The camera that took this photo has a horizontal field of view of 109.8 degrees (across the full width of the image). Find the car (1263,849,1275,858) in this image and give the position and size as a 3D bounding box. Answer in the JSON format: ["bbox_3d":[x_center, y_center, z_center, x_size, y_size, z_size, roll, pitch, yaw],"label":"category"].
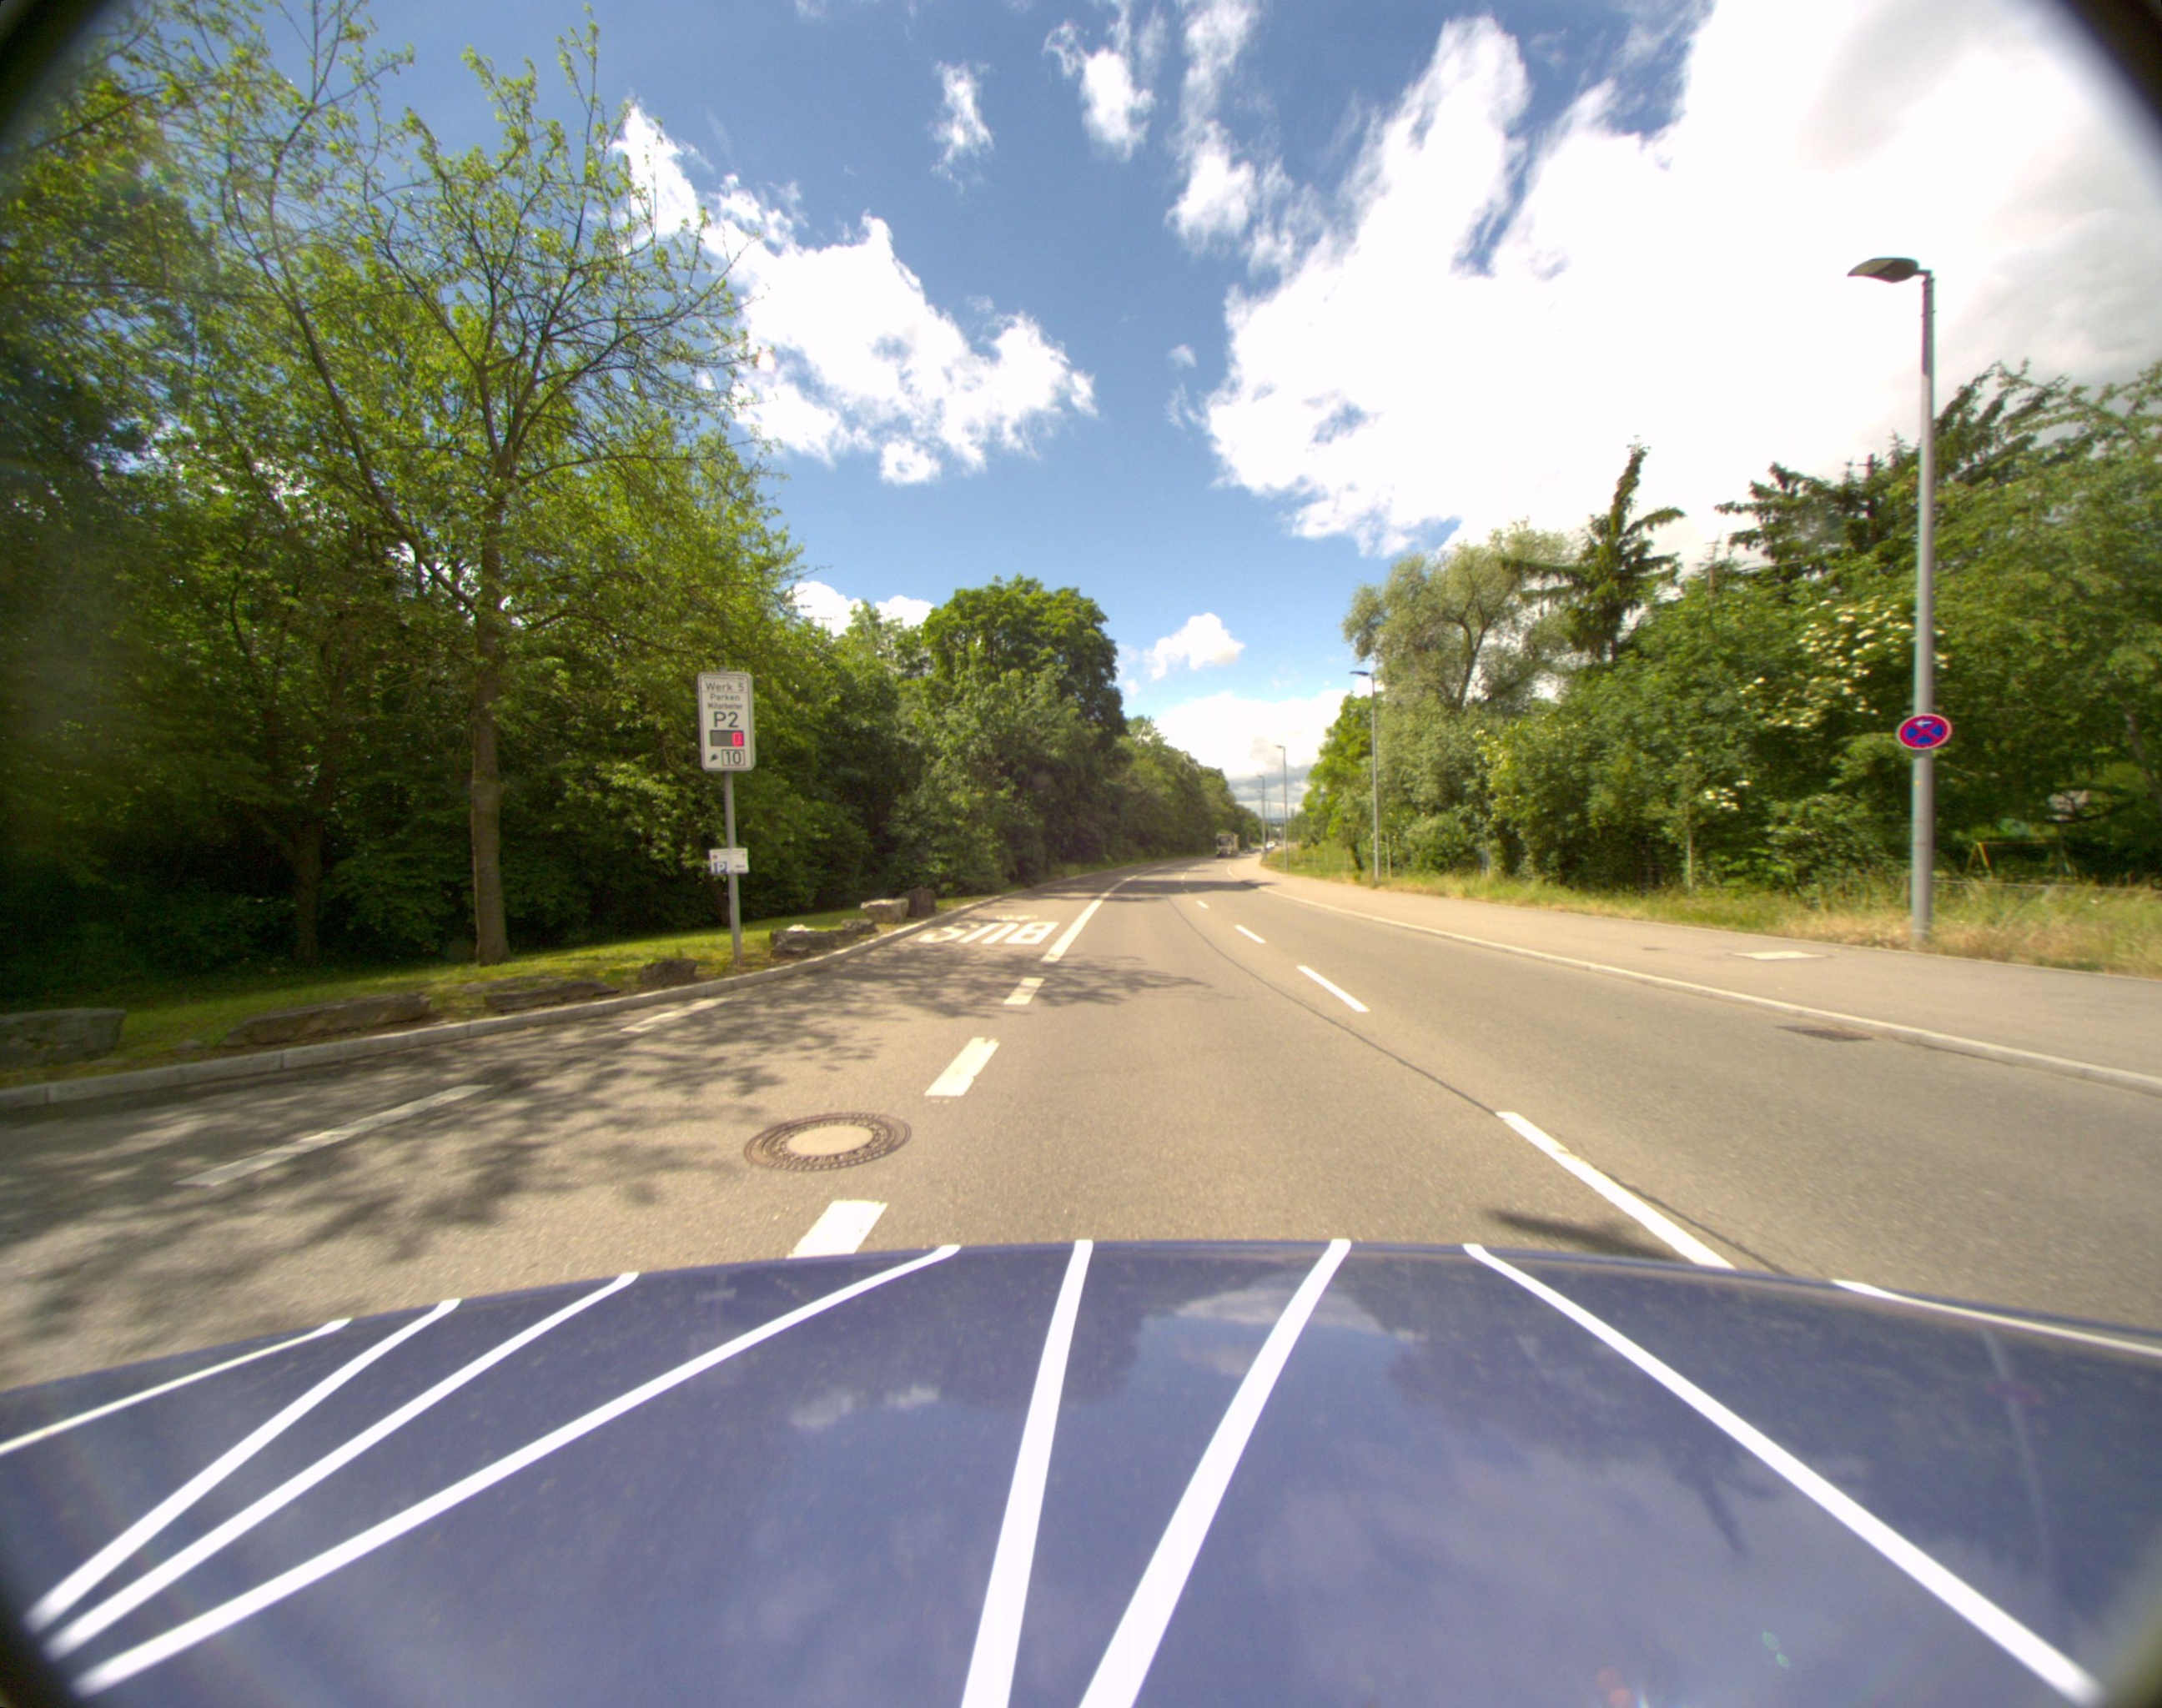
[{"bbox_3d":[36.361,-0.175,146.953,1.800,1.652,4.005,0,1,20],"label":"car"}]

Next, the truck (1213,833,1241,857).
[{"bbox_3d":[24.329,-1.548,126.077,3.236,3.838,9.886,0,1,19],"label":"truck"}]

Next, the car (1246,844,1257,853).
[{"bbox_3d":[35.381,-1.159,157.781,1.996,2.002,4.004,0,1,16],"label":"car"}]
